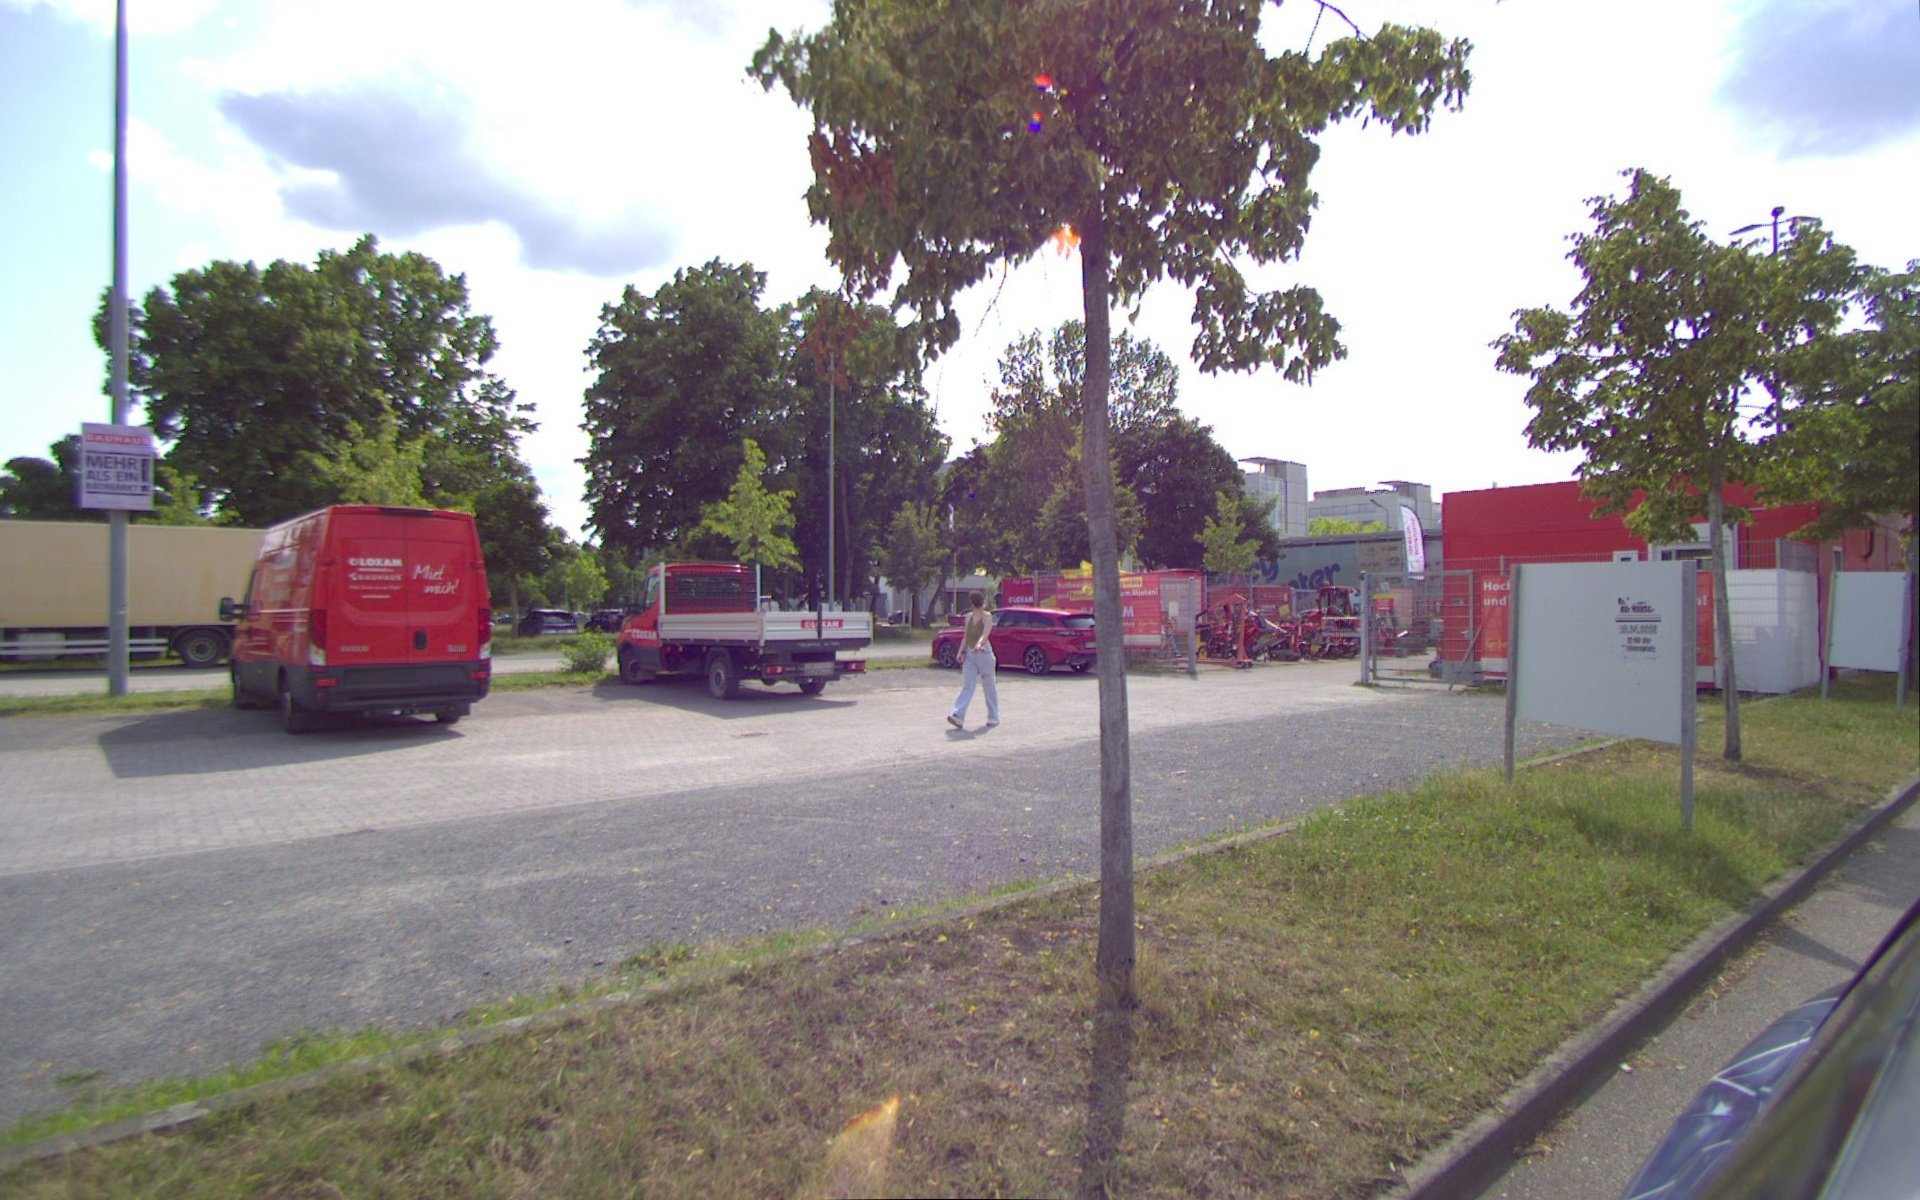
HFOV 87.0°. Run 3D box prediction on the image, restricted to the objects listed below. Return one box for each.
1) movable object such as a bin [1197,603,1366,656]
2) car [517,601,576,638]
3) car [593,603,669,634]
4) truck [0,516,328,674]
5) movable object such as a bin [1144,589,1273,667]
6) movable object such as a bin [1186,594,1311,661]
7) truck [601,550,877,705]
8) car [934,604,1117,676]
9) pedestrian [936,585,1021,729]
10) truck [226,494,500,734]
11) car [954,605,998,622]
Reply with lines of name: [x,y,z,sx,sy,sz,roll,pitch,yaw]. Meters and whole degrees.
movable object such as a bin: [9.250,0.809,29.278,3.025,1.396,3.586,1,0,-36]
car: [-20.029,0.910,48.935,1.867,1.677,3.487,0,0,-36]
car: [-16.669,0.915,51.302,3.299,1.297,1.695,-4,3,-37]
truck: [-21.494,-0.110,25.792,8.872,3.644,2.728,0,0,-39]
movable object such as a bin: [6.305,0.678,25.882,1.364,1.867,3.008,1,-1,-40]
movable object such as a bin: [7.720,0.706,27.274,1.364,1.691,3.008,1,-1,-40]
truck: [-4.082,0.410,17.825,2.136,2.284,5.851,1,0,-42]
car: [1.394,0.833,22.876,1.592,1.432,4.134,0,0,-45]
pedestrian: [0.232,0.676,12.630,0.863,1.713,0.600,-1,0,-38]
truck: [-8.117,0.155,13.462,2.080,2.547,5.434,1,-1,-42]
car: [1.527,1.283,95.493,1.967,1.603,3.990,0,-1,-43]
